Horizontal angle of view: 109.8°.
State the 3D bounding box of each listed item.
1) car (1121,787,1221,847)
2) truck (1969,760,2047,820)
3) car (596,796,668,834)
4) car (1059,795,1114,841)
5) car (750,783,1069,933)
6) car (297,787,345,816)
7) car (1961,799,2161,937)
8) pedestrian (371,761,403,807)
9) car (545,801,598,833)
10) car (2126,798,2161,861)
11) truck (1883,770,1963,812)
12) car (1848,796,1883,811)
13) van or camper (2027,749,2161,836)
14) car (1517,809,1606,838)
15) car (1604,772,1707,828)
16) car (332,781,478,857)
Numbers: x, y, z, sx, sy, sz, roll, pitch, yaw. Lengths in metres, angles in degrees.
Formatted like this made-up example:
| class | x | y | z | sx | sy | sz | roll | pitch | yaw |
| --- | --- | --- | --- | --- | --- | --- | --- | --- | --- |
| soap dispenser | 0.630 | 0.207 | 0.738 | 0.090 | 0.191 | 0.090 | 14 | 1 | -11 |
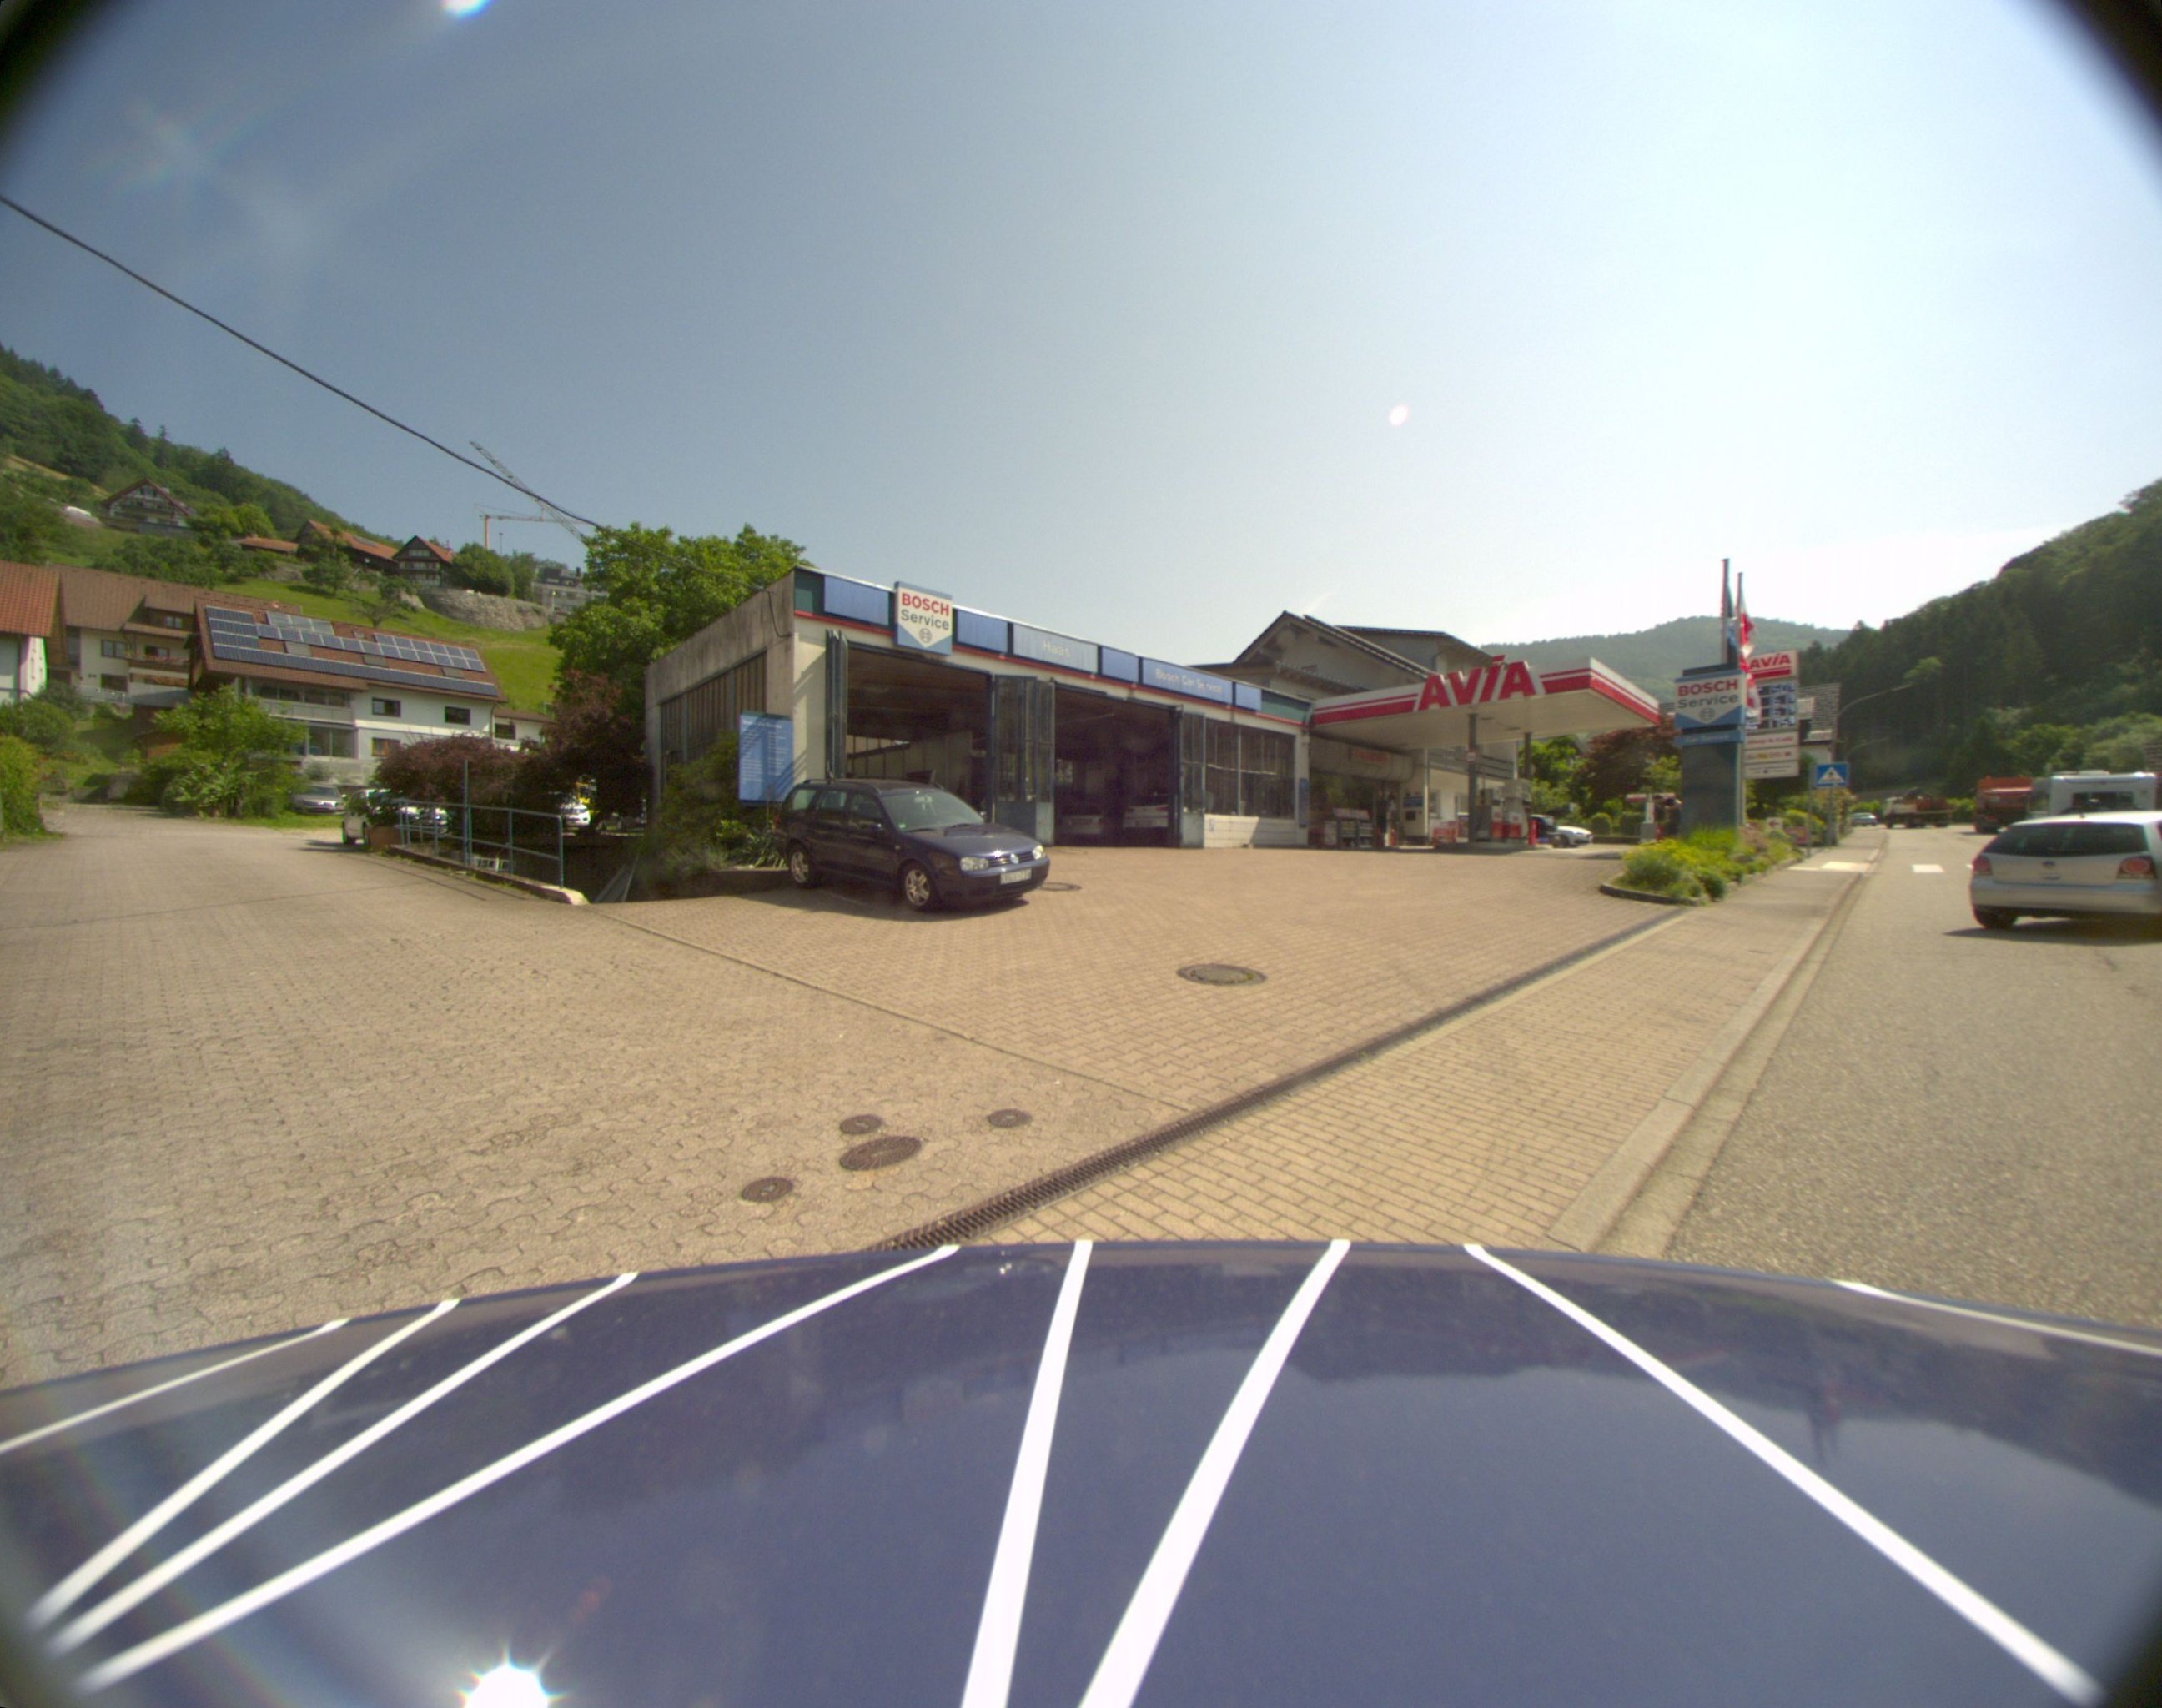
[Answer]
| class | x | y | z | sx | sy | sz | roll | pitch | yaw |
| --- | --- | --- | --- | --- | --- | --- | --- | --- | --- |
| car | 2.883 | -1.241 | 23.609 | 1.601 | 1.680 | 3.935 | 4 | 6 | 30 |
| truck | 59.751 | -4.104 | 49.115 | 8.207 | 3.563 | 2.644 | -4 | 6 | -42 |
| car | -20.785 | -1.840 | 35.095 | 3.898 | 1.547 | 1.682 | 5 | 7 | 41 |
| car | 0.244 | -1.144 | 25.295 | 1.547 | 1.398 | 3.479 | 1 | 1 | 5 |
| car | -2.398 | -0.137 | 10.110 | 4.317 | 1.537 | 1.802 | 5 | 8 | 38 |
| car | -35.665 | -2.509 | 35.633 | 3.072 | 1.270 | 1.347 | 5 | 8 | 42 |
| car | 13.452 | 0.072 | 9.421 | 3.757 | 1.474 | 1.594 | -3 | 2 | -9 |
| pedestrian | -37.647 | -3.807 | 41.240 | 0.825 | 2.419 | 0.828 | 2 | 6 | 14 |
| car | -22.980 | -1.671 | 34.236 | 1.471 | 1.252 | 3.376 | -1 | 5 | -43 |
| car | 26.506 | -0.612 | 17.952 | 3.834 | 1.398 | 1.604 | -4 | 6 | -43 |
| truck | 75.866 | -5.625 | 68.663 | 2.645 | 3.563 | 7.784 | 2 | 5 | 32 |
| car | 83.315 | -5.374 | 80.733 | 1.783 | 1.566 | 3.603 | 5 | 7 | 35 |
| van or camper | 38.699 | -2.275 | 29.170 | 8.065 | 2.937 | 2.358 | -3 | 4 | -42 |
| car | 21.461 | -1.396 | 34.022 | 1.337 | 1.139 | 3.072 | -5 | 8 | -43 |
| car | 17.719 | -1.691 | 23.385 | 3.918 | 1.569 | 1.691 | -4 | 7 | -41 |
| car | -16.960 | -0.979 | 18.982 | 4.861 | 1.636 | 2.003 | 5 | 7 | 41 |
